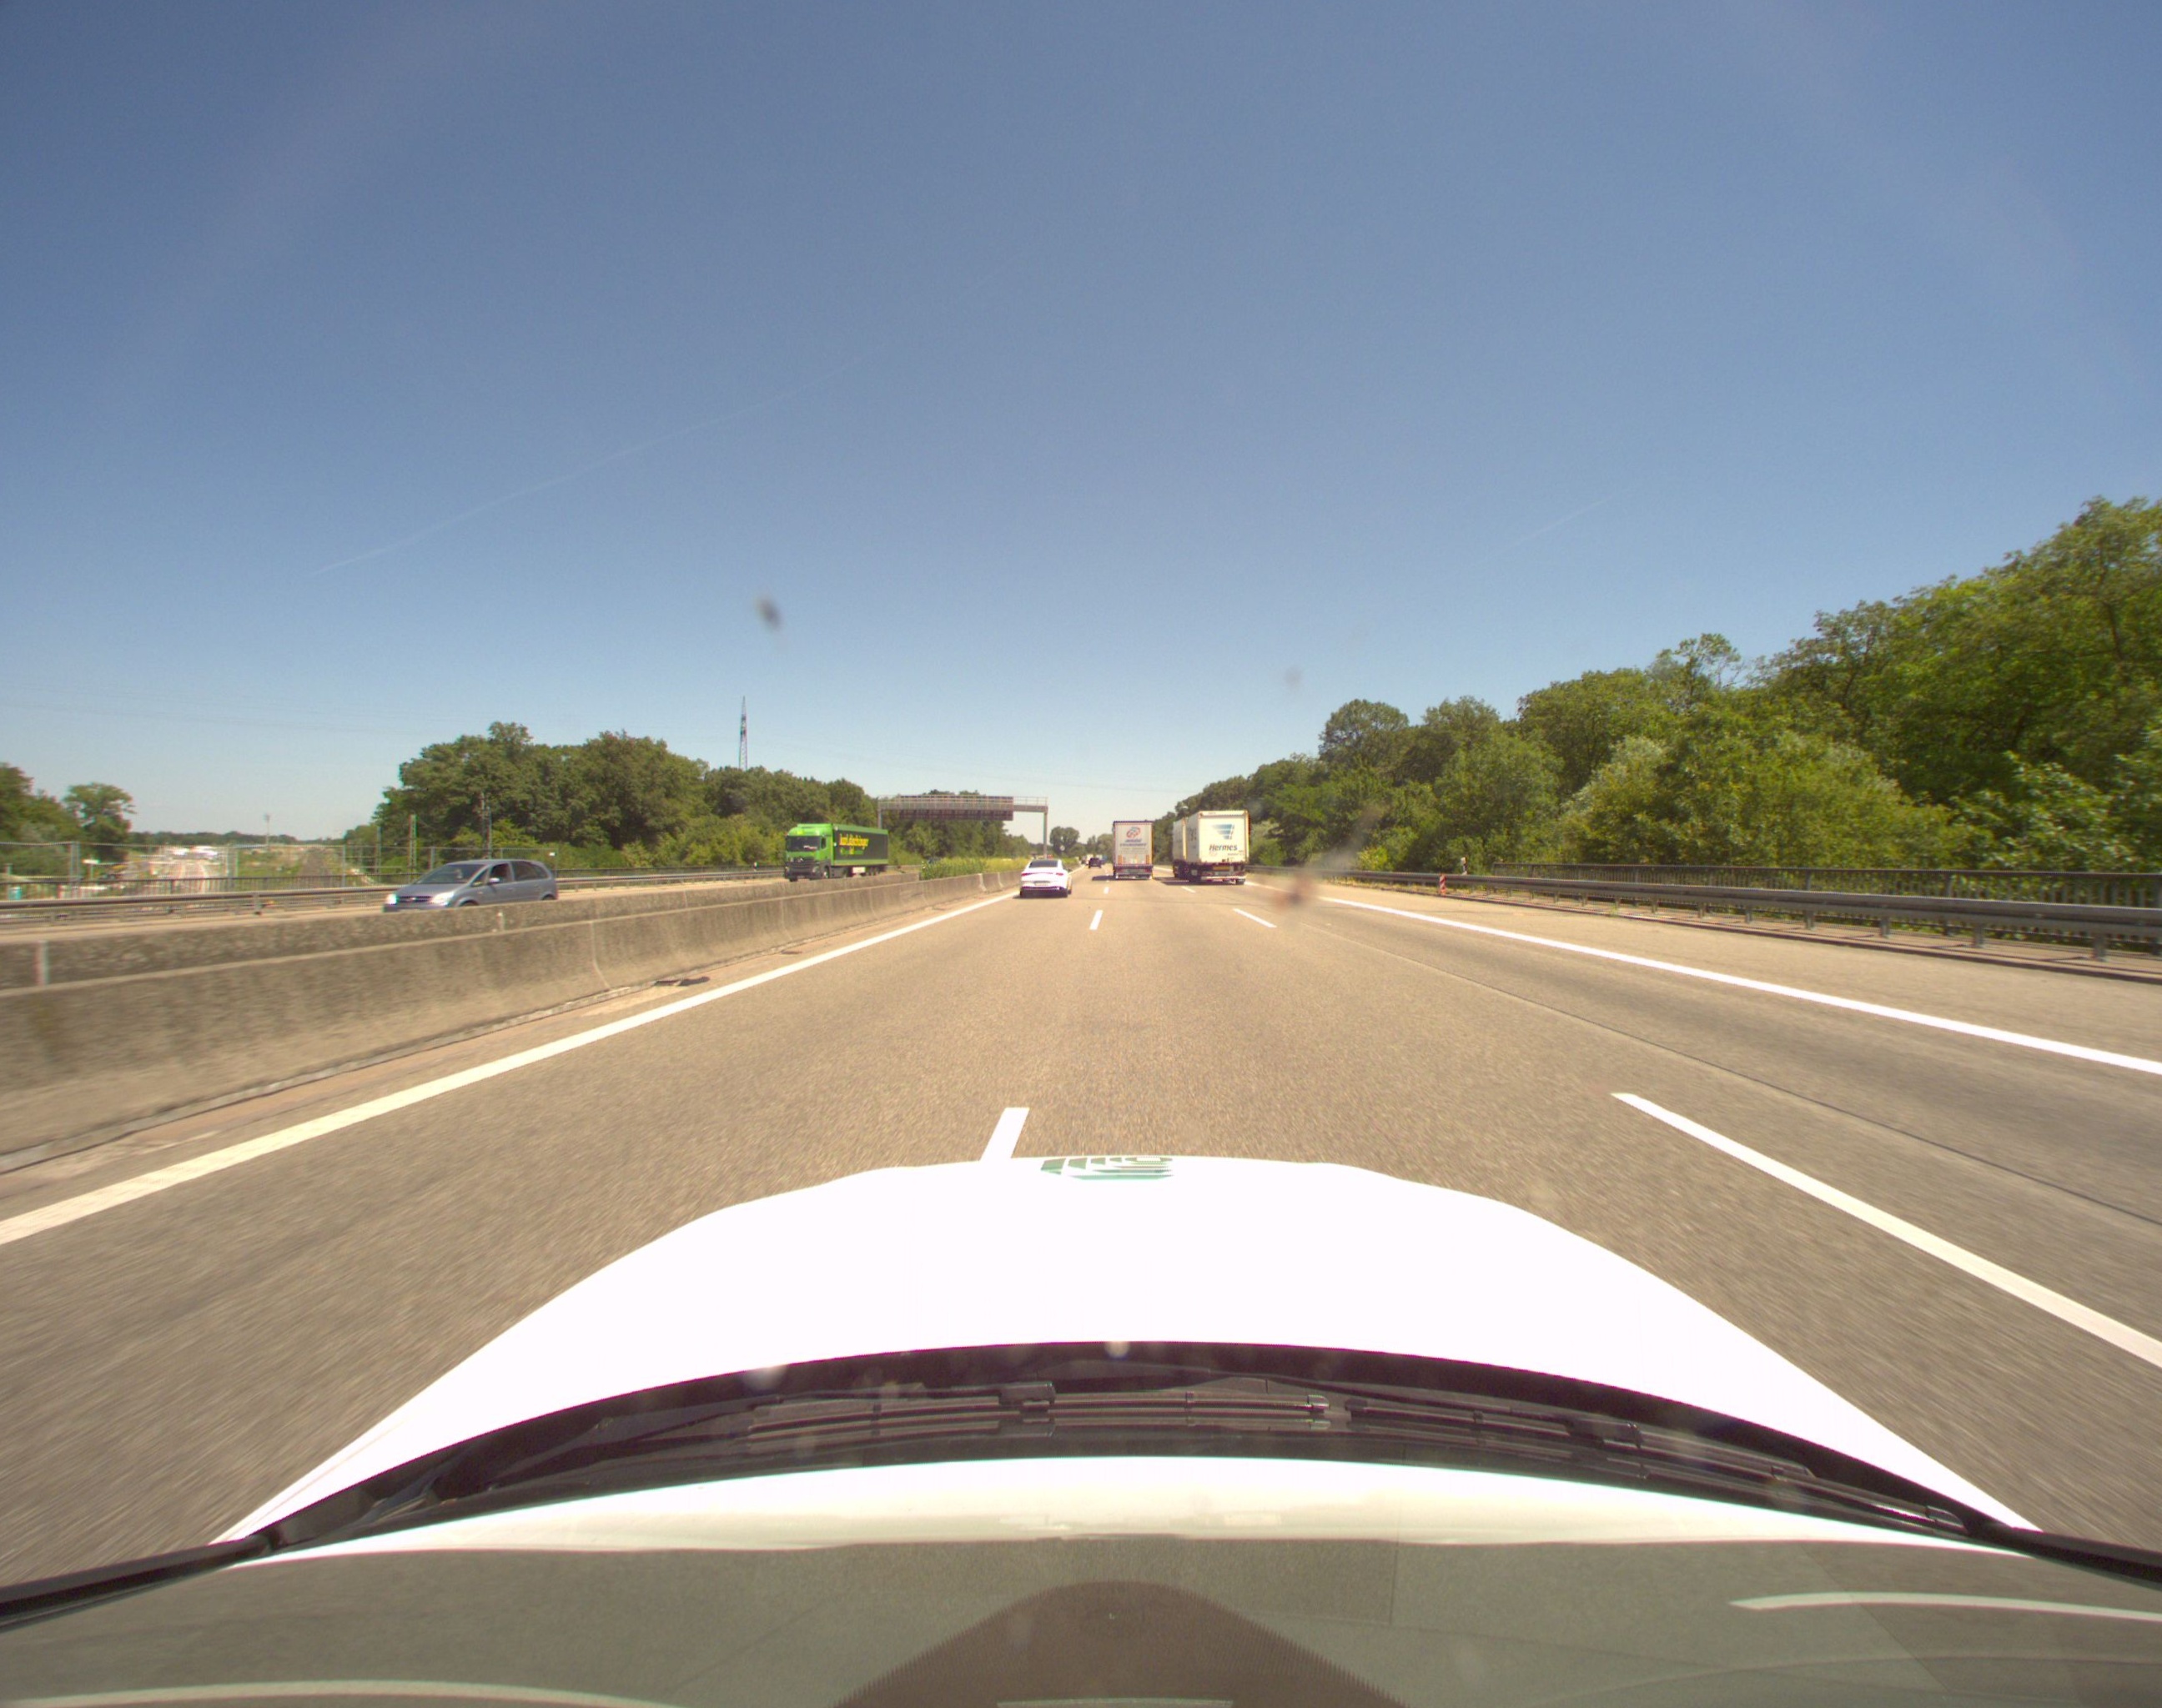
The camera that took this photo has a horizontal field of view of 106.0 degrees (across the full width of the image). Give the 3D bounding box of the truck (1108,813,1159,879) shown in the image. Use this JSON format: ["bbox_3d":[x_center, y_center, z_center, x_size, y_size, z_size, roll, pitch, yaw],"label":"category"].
[{"bbox_3d":[3.588,-0.532,56.848,3.217,4.202,8.471,-1,0,2],"label":"truck"}]

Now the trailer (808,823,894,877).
[{"bbox_3d":[-17.875,-0.329,64.360,2.912,3.862,11.874,-1,0,2],"label":"trailer"}]

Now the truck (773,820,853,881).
[{"bbox_3d":[-18.246,-0.227,55.981,2.909,3.941,6.505,-1,0,4],"label":"truck"}]

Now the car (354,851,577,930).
[{"bbox_3d":[-15.117,0.812,20.395,1.992,1.712,4.541,-1,0,2],"label":"car"}]

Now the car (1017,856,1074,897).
[{"bbox_3d":[-1.312,0.830,32.403,1.759,1.448,5.112,-1,0,3],"label":"car"}]

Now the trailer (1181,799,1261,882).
[{"bbox_3d":[7.676,-0.690,46.010,3.353,4.142,9.098,-1,0,3],"label":"trailer"}]

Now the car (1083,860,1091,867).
[{"bbox_3d":[1.446,2.458,211.358,1.986,1.596,4.001,-1,0,1],"label":"car"}]

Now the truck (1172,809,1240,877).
[{"bbox_3d":[8.085,-0.667,54.165,3.312,4.053,10.962,-1,0,3],"label":"truck"}]

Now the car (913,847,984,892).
[{"bbox_3d":[-6.293,0.706,39.234,2.282,2.013,4.716,-1,0,4],"label":"car"}]

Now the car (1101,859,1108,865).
[{"bbox_3d":[6.884,2.303,240.361,1.986,1.596,4.001,-1,0,1],"label":"car"}]

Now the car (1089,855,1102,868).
[{"bbox_3d":[2.271,1.215,127.453,1.986,1.874,4.001,-1,1,1],"label":"car"}]

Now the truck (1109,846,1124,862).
[{"bbox_3d":[8.982,-0.065,207.320,3.433,3.989,9.515,-1,0,0],"label":"truck"}]
